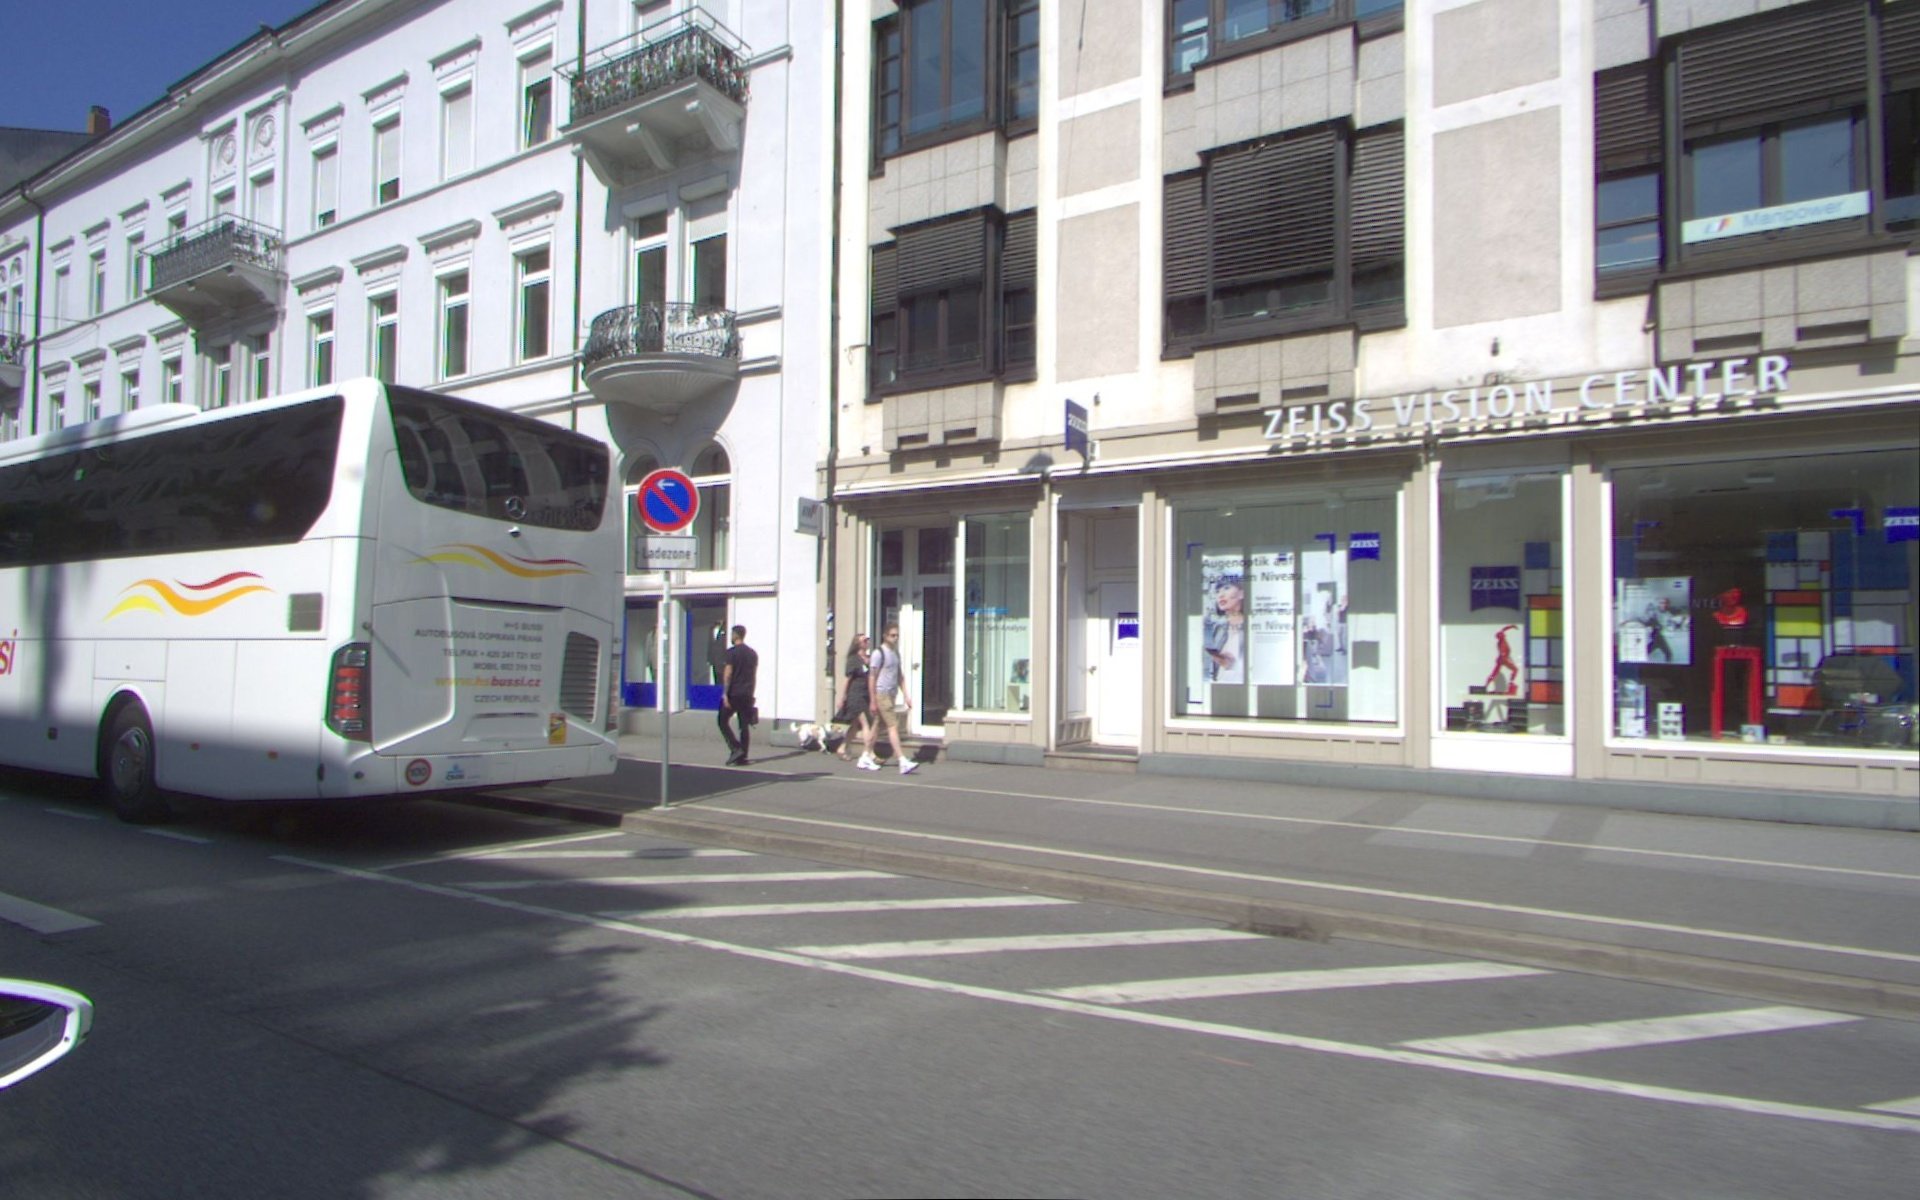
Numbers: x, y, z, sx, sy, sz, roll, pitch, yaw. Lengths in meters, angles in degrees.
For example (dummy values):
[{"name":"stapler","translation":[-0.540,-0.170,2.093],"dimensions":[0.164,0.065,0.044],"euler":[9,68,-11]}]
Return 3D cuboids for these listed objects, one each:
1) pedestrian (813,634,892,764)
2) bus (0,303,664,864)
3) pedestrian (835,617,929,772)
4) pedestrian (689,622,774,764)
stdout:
[{"name":"pedestrian","translation":[-1.414,1.280,13.139],"dimensions":[0.810,1.637,0.644],"euler":[-2,-3,33]},{"name":"bus","translation":[-8.837,0.065,11.015],"dimensions":[12.238,3.786,2.882],"euler":[-1,-5,30]},{"name":"pedestrian","translation":[-0.951,1.136,12.220],"dimensions":[1.006,1.800,0.572],"euler":[-2,-3,33]},{"name":"pedestrian","translation":[-2.915,1.158,12.762],"dimensions":[0.823,1.741,0.619],"euler":[0,-2,33]}]
